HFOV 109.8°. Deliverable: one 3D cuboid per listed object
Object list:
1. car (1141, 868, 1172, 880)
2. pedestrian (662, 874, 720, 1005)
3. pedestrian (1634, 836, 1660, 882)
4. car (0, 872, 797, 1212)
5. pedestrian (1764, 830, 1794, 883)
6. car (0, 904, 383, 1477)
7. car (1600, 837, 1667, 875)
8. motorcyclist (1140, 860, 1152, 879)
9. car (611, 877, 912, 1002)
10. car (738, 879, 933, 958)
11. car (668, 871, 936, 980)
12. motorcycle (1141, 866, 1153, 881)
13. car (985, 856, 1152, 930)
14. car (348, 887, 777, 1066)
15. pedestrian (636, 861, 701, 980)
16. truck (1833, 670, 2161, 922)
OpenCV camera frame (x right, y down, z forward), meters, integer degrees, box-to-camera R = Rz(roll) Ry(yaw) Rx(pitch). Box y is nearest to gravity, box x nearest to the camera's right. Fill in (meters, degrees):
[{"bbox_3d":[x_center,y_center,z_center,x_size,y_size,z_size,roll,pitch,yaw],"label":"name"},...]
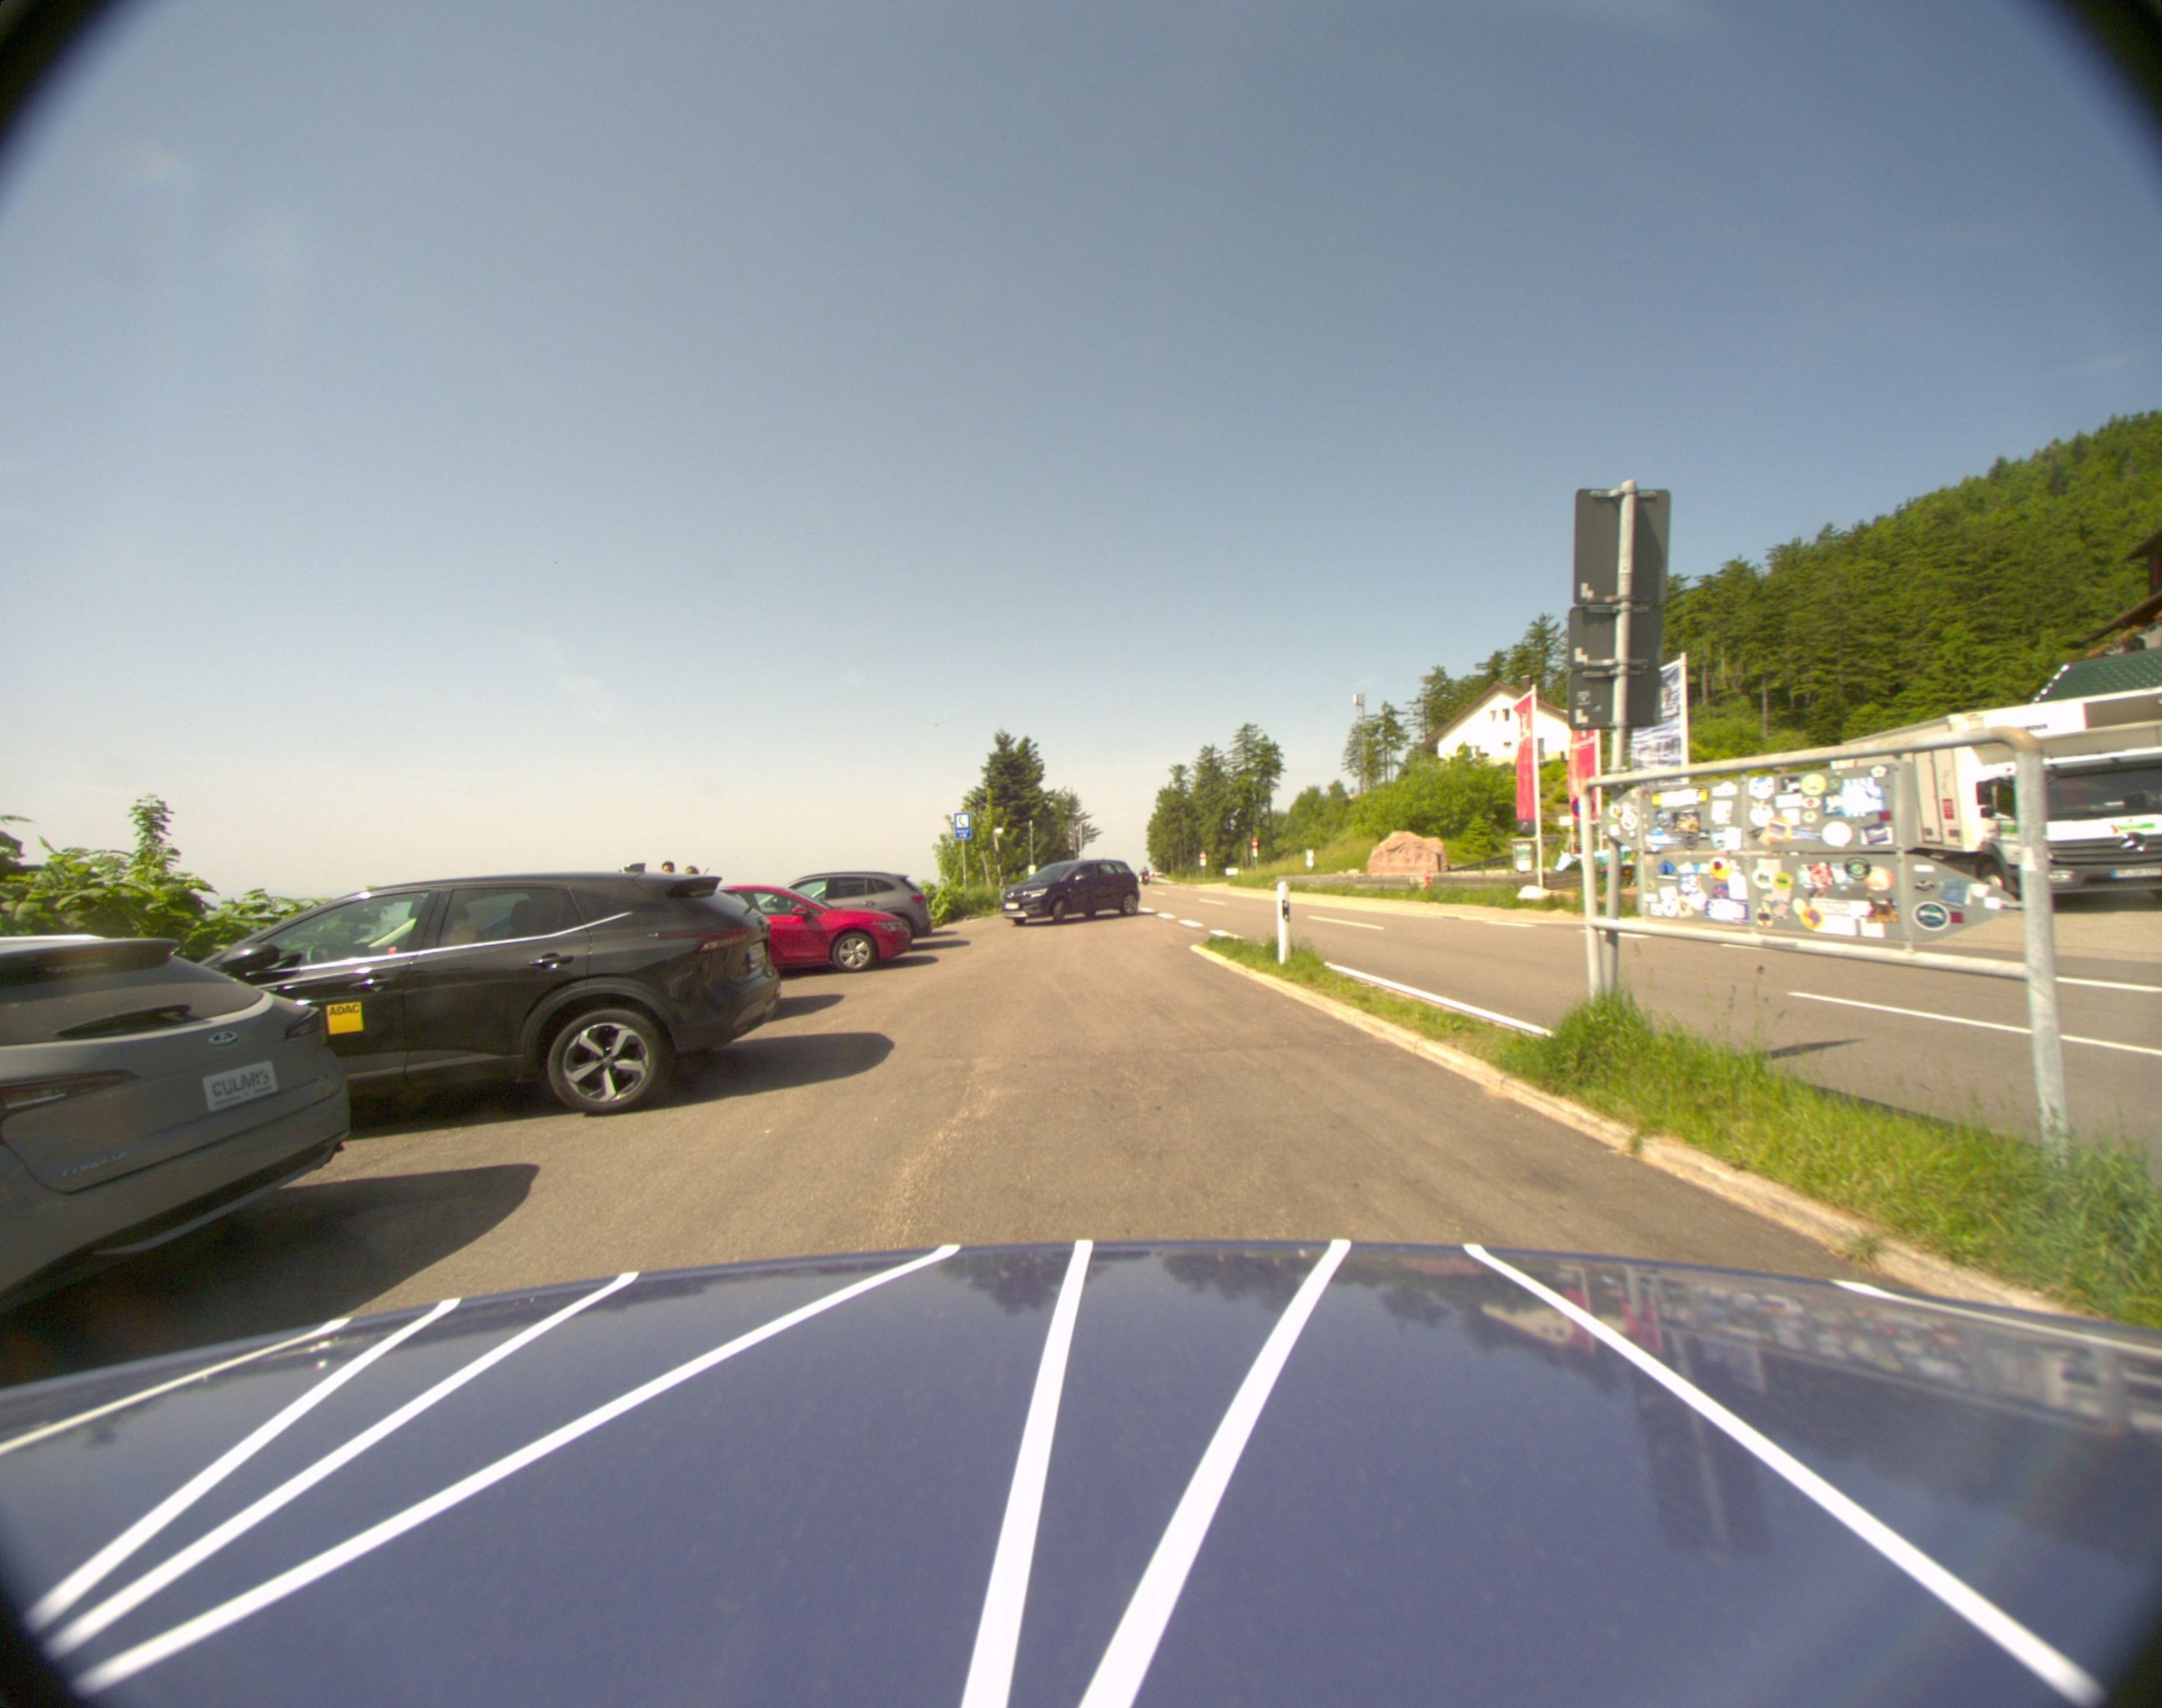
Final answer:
[{"bbox_3d":[12.253,3.183,123.559,4.730,1.870,1.932,1,-1,-2],"label":"car"},{"bbox_3d":[-5.394,1.158,10.545,0.505,1.715,0.566,-5,1,-18],"label":"pedestrian"},{"bbox_3d":[21.220,0.194,28.504,0.697,1.706,0.800,-1,0,31],"label":"pedestrian"},{"bbox_3d":[-4.356,1.067,5.414,4.000,1.604,1.915,-3,0,-10],"label":"car"},{"bbox_3d":[22.502,0.092,24.507,0.574,1.679,0.654,-1,0,31],"label":"pedestrian"},{"bbox_3d":[-5.328,1.139,2.469,4.164,1.580,1.703,-3,0,-10],"label":"car"},{"bbox_3d":[25.567,0.070,35.101,1.874,1.347,4.006,-1,5,45],"label":"car"},{"bbox_3d":[5.789,1.344,67.402,0.881,1.632,1.299,-1,0,-3],"label":"motorcyclist"},{"bbox_3d":[-4.777,1.235,11.941,4.002,1.501,1.840,-3,0,-15],"label":"car"},{"bbox_3d":[-5.531,1.412,17.483,4.001,1.377,1.655,-4,0,-15],"label":"car"},{"bbox_3d":[-5.127,1.249,14.485,4.413,1.559,1.905,-4,0,-16],"label":"car"},{"bbox_3d":[5.826,1.706,67.155,0.813,1.258,2.327,-1,0,-3],"label":"motorcycle"},{"bbox_3d":[-0.244,0.994,20.168,1.982,1.606,4.158,-6,-3,43],"label":"car"},{"bbox_3d":[-5.608,1.274,8.618,3.591,1.487,1.647,-4,0,-4],"label":"car"},{"bbox_3d":[-6.893,1.084,12.737,0.610,1.889,0.678,-4,1,-6],"label":"pedestrian"},{"bbox_3d":[19.261,-1.115,15.825,3.062,3.949,8.786,-4,1,32],"label":"truck"}]
